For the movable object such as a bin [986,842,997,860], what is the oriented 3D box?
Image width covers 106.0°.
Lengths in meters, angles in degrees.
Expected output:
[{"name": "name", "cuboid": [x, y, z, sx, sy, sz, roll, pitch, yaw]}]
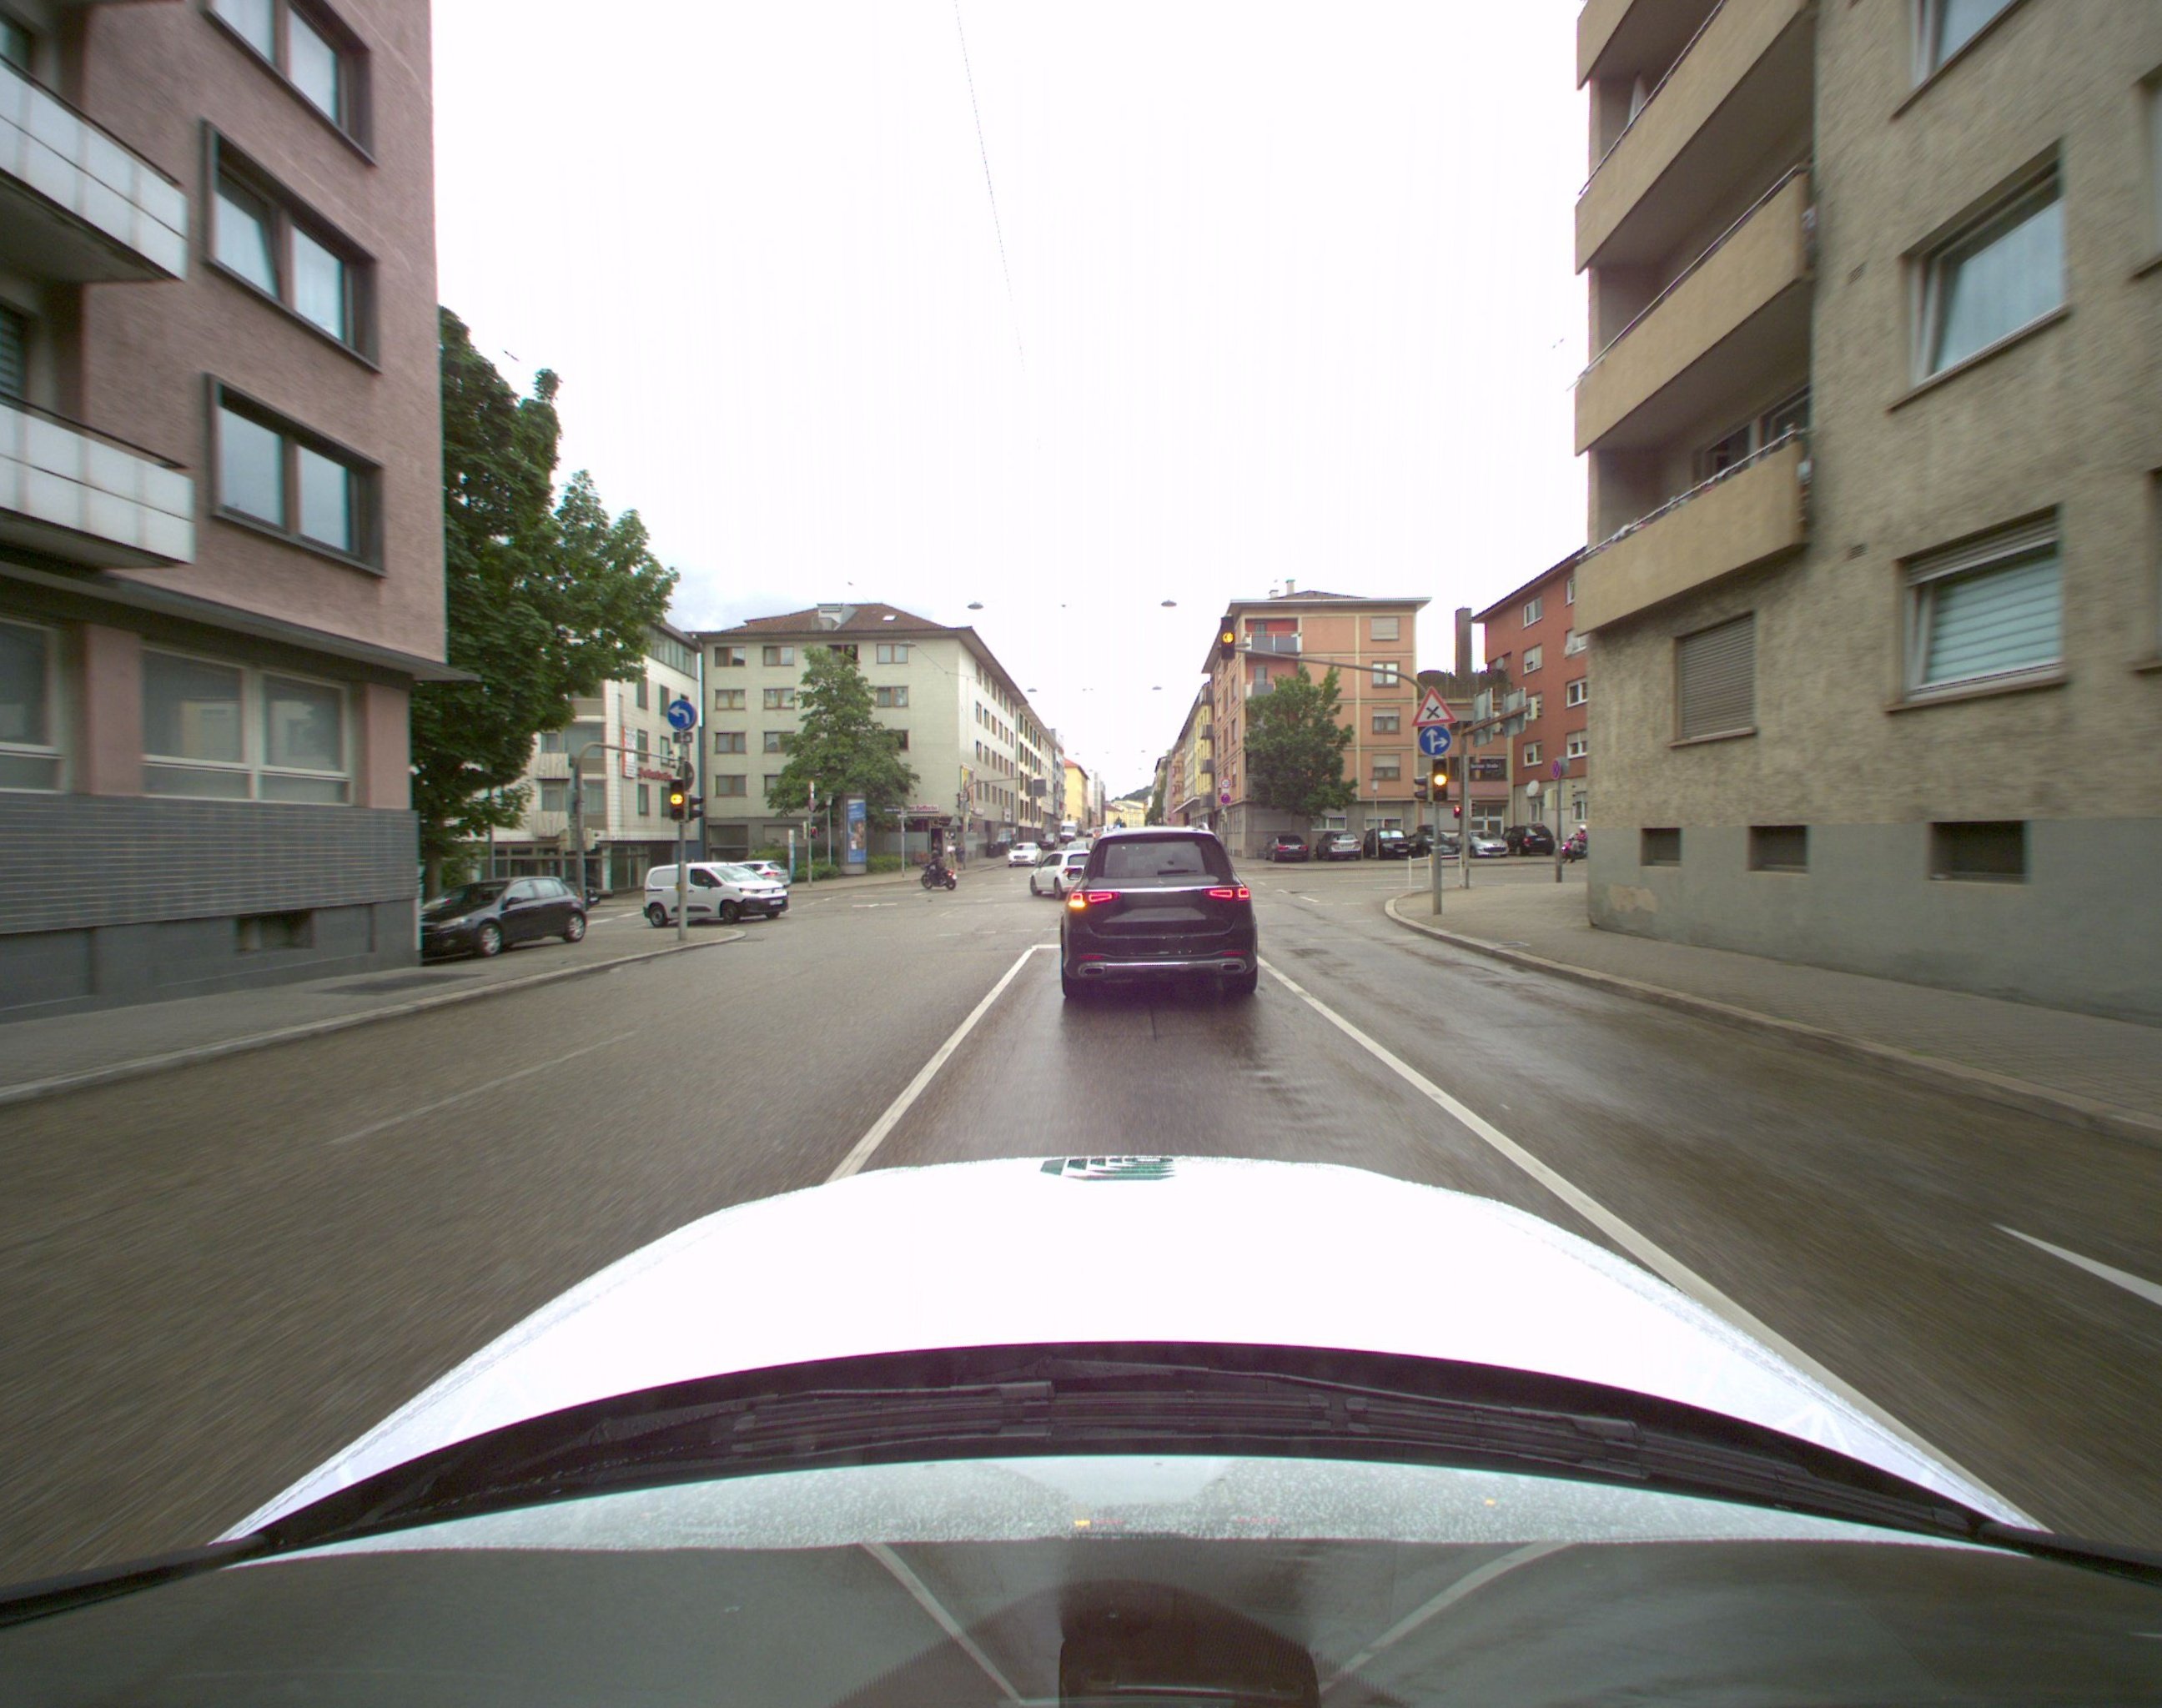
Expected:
[{"name": "movable object such as a bin", "cuboid": [-6.677, -0.247, 60.855, 0.694, 1.315, 0.783, 1, -1, 2]}]

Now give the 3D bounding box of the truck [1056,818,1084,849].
[{"name": "truck", "cuboid": [-1.397, -2.634, 107.814, 2.794, 3.832, 8.156, 1, 0, 5]}]

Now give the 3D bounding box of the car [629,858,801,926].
[{"name": "car", "cuboid": [-10.734, 1.112, 23.920, 4.493, 1.715, 1.821, -3, 0, 20]}]

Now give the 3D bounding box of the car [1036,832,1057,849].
[{"name": "car", "cuboid": [-3.513, -1.353, 83.223, 1.717, 1.603, 4.003, -1, 0, 3]}]

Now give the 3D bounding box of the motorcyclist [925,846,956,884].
[{"name": "motorcyclist", "cuboid": [-5.514, 0.427, 32.056, 0.737, 1.453, 0.913, -1, 0, 41]}]

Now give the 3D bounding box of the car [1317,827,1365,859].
[{"name": "car", "cuboid": [14.538, -0.611, 45.766, 1.975, 1.660, 4.010, -1, 1, 9]}]

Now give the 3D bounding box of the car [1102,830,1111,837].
[{"name": "car", "cuboid": [6.327, -5.033, 201.707, 1.835, 1.674, 4.005, -1, 0, 4]}]

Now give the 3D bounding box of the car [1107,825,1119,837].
[{"name": "car", "cuboid": [5.208, -3.701, 131.658, 1.835, 1.674, 4.005, -1, 0, 4]}]

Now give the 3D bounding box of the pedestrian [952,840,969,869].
[{"name": "pedestrian", "cuboid": [-6.927, 0.011, 46.911, 0.713, 1.646, 0.751, -1, 4, -33]}]

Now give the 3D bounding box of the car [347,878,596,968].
[{"name": "car", "cuboid": [-11.697, 1.246, 16.032, 1.726, 1.360, 4.002, -3, 0, 2]}]

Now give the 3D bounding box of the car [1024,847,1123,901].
[{"name": "car", "cuboid": [-0.347, 0.565, 26.079, 1.836, 1.461, 4.350, -3, 1, -19]}]

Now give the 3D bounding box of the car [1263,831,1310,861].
[{"name": "car", "cuboid": [11.646, -0.461, 46.430, 1.835, 1.554, 4.803, -1, 1, 5]}]

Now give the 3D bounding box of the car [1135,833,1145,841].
[{"name": "car", "cuboid": [12.933, -3.757, 177.583, 2.006, 1.562, 4.006, 1, 0, 6]}]

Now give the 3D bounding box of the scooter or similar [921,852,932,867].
[{"name": "scooter or similar", "cuboid": [-9.414, 0.334, 49.503, 0.460, 0.843, 1.313, 1, 0, -19]}]

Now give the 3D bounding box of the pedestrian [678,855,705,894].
[{"name": "pedestrian", "cuboid": [-19.155, 1.005, 40.032, 0.906, 1.817, 0.760, 0, 4, 31]}]

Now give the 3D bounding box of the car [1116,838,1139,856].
[{"name": "car", "cuboid": [3.884, -0.585, 68.406, 1.836, 1.489, 4.004, -1, 0, 4]}]

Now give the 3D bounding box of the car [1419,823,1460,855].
[{"name": "car", "cuboid": [19.959, -0.843, 45.293, 1.777, 1.698, 4.025, 1, 1, 28]}]

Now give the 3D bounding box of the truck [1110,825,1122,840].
[{"name": "truck", "cuboid": [9.617, -5.806, 221.807, 2.794, 3.832, 8.156, 1, 0, 5]}]

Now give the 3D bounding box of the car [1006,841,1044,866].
[{"name": "car", "cuboid": [-3.524, -0.075, 52.220, 1.836, 1.512, 4.004, -2, 1, 4]}]

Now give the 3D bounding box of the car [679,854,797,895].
[{"name": "car", "cuboid": [-14.975, 0.887, 35.710, 4.235, 1.600, 2.027, -2, 0, 0]}]

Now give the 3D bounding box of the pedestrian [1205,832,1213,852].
[{"name": "pedestrian", "cuboid": [10.127, -0.945, 64.439, 0.477, 1.565, 0.558, 1, 4, 3]}]

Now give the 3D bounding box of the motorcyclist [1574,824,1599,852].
[{"name": "motorcyclist", "cuboid": [22.495, -0.710, 36.253, 0.655, 1.224, 0.653, -3, 0, -4]}]

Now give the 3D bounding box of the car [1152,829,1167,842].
[{"name": "car", "cuboid": [10.806, -2.521, 111.757, 2.006, 1.562, 5.163, 1, 0, 6]}]

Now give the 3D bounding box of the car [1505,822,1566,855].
[{"name": "car", "cuboid": [24.996, -0.847, 44.920, 1.979, 1.706, 4.016, 1, 0, 15]}]

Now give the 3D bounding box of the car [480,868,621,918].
[{"name": "car", "cuboid": [-21.374, 1.538, 32.922, 4.351, 1.536, 1.824, -5, 1, -1]}]

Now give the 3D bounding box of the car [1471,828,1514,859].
[{"name": "car", "cuboid": [22.501, -0.542, 44.679, 1.655, 1.582, 4.020, 0, 0, 20]}]

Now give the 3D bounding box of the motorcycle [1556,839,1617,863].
[{"name": "motorcycle", "cuboid": [22.496, -0.142, 36.261, 2.353, 0.927, 0.636, -3, -1, -5]}]

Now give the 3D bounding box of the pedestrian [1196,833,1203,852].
[{"name": "pedestrian", "cuboid": [9.838, -0.949, 67.564, 0.518, 1.538, 0.570, 1, 4, 3]}]

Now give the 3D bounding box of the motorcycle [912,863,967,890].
[{"name": "motorcycle", "cuboid": [-5.602, 0.869, 32.126, 2.223, 1.006, 0.870, -1, 0, 40]}]

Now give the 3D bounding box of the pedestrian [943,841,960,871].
[{"name": "pedestrian", "cuboid": [-7.333, 0.087, 46.074, 0.713, 1.646, 0.751, -1, 4, -33]}]

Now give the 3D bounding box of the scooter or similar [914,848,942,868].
[{"name": "scooter or similar", "cuboid": [-8.932, 0.239, 47.593, 1.564, 1.190, 0.497, 1, -1, -27]}]

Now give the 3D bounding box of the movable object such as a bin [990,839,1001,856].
[{"name": "movable object such as a bin", "cuboid": [-6.564, -0.505, 62.778, 0.694, 1.315, 0.783, 1, -1, 2]}]

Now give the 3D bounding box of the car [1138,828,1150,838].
[{"name": "car", "cuboid": [11.141, -3.752, 143.606, 2.006, 1.562, 4.006, 1, 0, 6]}]

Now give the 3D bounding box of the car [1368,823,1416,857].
[{"name": "car", "cuboid": [17.156, -0.757, 45.112, 1.972, 1.719, 4.016, -2, 0, 14]}]

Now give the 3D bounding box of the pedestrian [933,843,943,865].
[{"name": "pedestrian", "cuboid": [-9.454, -0.001, 53.949, 0.517, 1.400, 0.578, 1, -1, 0]}]

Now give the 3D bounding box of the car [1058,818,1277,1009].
[{"name": "car", "cuboid": [0.844, 0.539, 9.960, 2.014, 1.739, 4.748, -1, 0, 1]}]

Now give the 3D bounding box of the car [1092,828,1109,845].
[{"name": "car", "cuboid": [2.770, -2.362, 112.636, 2.055, 2.241, 4.626, -1, 0, 4]}]

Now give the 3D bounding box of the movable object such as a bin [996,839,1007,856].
[{"name": "movable object such as a bin", "cuboid": [-6.397, -0.501, 65.512, 0.694, 1.315, 0.783, 1, -1, 2]}]

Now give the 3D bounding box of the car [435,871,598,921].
[{"name": "car", "cuboid": [-19.747, 1.458, 28.643, 4.351, 1.477, 1.824, -2, 1, -1]}]
